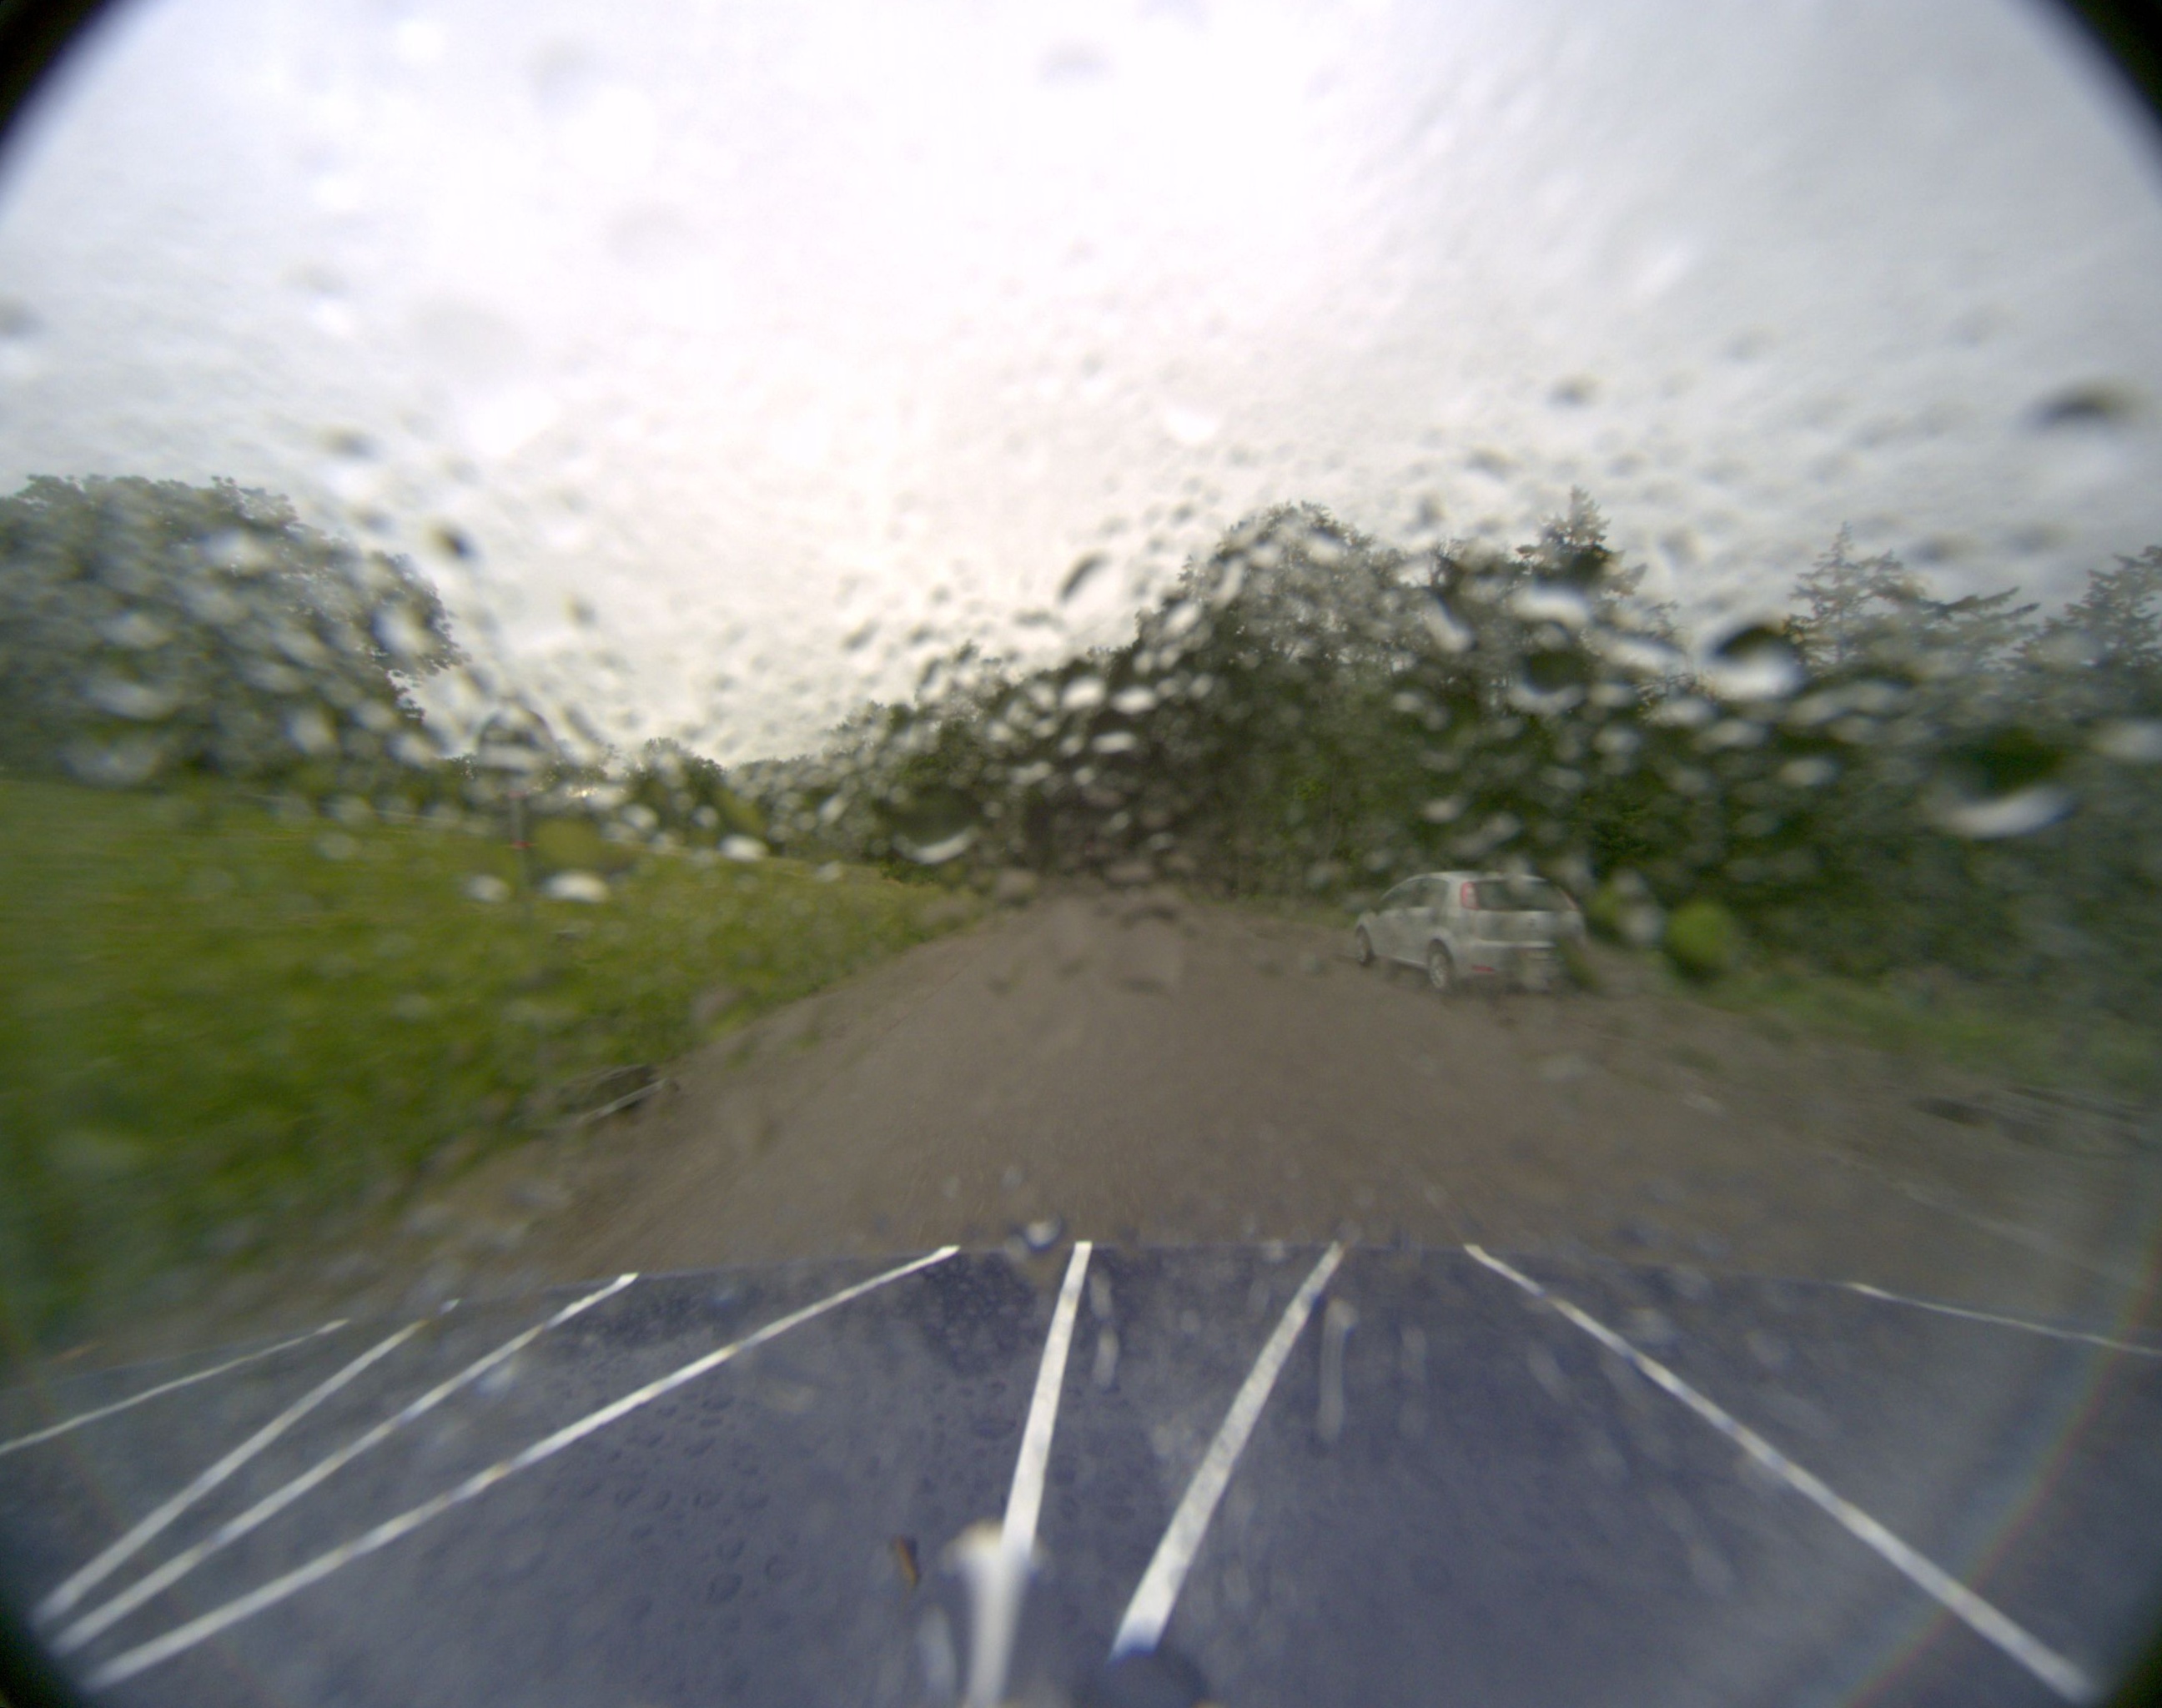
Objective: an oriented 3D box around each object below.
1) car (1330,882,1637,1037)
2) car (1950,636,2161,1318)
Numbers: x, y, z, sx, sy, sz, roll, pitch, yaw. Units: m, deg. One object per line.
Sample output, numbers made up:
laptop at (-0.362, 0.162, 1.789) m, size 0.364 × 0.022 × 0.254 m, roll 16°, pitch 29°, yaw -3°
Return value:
car at (5.167, 1.238, 10.601) m, size 1.866 × 1.586 × 4.496 m, roll 2°, pitch -1°, yaw 0°
car at (5.406, 0.459, 0.677) m, size 2.278 × 2.680 × 6.050 m, roll 3°, pitch -1°, yaw 0°
